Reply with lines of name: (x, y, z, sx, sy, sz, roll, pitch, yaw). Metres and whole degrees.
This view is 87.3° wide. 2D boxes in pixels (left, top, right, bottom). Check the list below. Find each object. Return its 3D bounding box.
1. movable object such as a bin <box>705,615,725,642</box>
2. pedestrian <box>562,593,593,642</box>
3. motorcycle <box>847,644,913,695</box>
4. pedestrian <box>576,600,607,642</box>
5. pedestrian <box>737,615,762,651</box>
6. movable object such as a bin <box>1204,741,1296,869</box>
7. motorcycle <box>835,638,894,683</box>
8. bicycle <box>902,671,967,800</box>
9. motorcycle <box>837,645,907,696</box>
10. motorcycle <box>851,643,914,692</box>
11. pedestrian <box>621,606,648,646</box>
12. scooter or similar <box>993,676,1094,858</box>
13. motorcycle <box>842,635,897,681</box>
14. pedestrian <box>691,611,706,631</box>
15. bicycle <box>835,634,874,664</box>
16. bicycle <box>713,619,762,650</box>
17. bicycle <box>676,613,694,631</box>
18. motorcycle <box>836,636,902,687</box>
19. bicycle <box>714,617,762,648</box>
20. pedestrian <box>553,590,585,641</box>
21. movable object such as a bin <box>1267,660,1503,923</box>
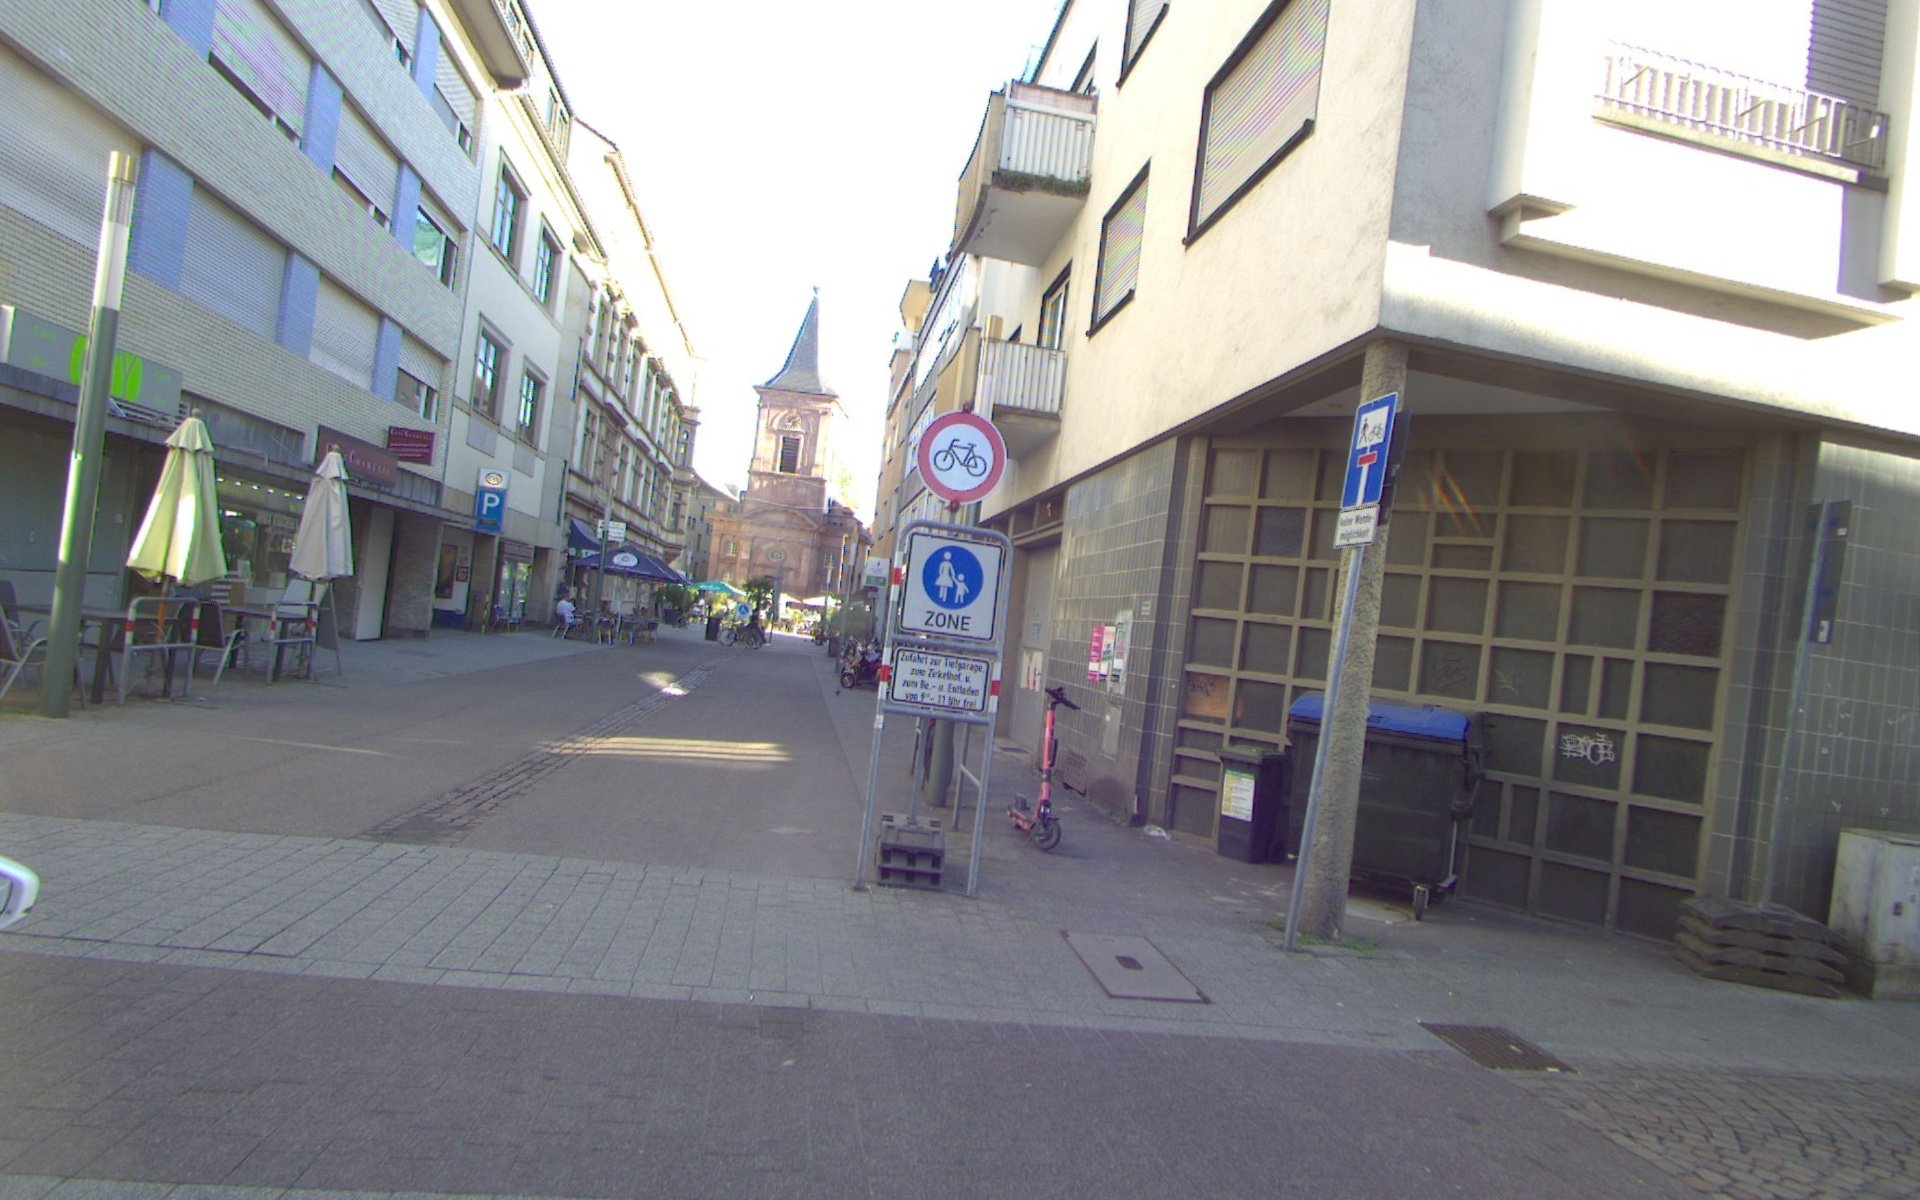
movable object such as a bin: (-10.555, 1.230, 43.367, 0.712, 1.087, 0.373, 7, -1, -11)
pedestrian: (-11.596, 0.524, 30.477, 0.710, 1.384, 0.707, 7, -1, -21)
motorcycle: (-1.993, 1.720, 25.111, 1.492, 1.088, 0.412, 6, -1, 9)
pedestrian: (-11.748, 0.662, 32.082, 0.756, 1.247, 0.828, 7, -1, -17)
pedestrian: (-9.390, 1.470, 44.833, 0.871, 1.481, 0.730, 7, -1, -9)
movable object such as a bin: (2.438, 1.698, 8.443, 0.533, 0.934, 0.512, 6, -2, 33)
motorcycle: (-2.665, 1.692, 28.087, 1.460, 1.088, 0.412, 6, -1, 9)
bicycle: (-0.294, 1.346, 10.419, 0.440, 1.152, 1.711, 7, -3, -4)
motorcycle: (-2.114, 1.703, 24.272, 1.539, 1.054, 0.373, 6, -1, 9)
motorcycle: (-2.016, 1.741, 26.108, 1.460, 1.088, 0.412, 6, -1, 9)
pedestrian: (-10.728, 0.841, 33.184, 0.684, 1.229, 0.581, 7, -1, -18)
scooter or similar: (0.646, 1.298, 8.118, 0.303, 1.267, 1.237, 7, -2, -13)
motorcycle: (-2.694, 1.731, 29.948, 1.460, 1.195, 0.412, 6, -1, 5)
pedestrian: (-17.242, 1.397, 66.411, 0.690, 1.232, 0.719, 7, -1, -4)
bicycle: (-4.275, 1.985, 40.753, 1.441, 1.016, 0.573, 7, -1, -3)
bicycle: (-8.873, 1.383, 40.181, 1.800, 1.016, 0.380, 8, -1, -13)
bicycle: (-14.211, 1.132, 52.060, 0.450, 0.859, 2.146, 7, -2, -6)
motorcycle: (-2.466, 1.666, 27.298, 1.598, 1.189, 0.481, 6, -1, 9)
bicycle: (-8.944, 1.300, 40.576, 1.800, 1.016, 0.380, 8, -1, -13)
pedestrian: (-11.427, 0.445, 29.416, 0.700, 1.384, 0.716, 7, -1, -21)
movable object such as a bin: (3.191, 1.341, 7.523, 1.271, 1.608, 1.152, 6, 0, 35)
